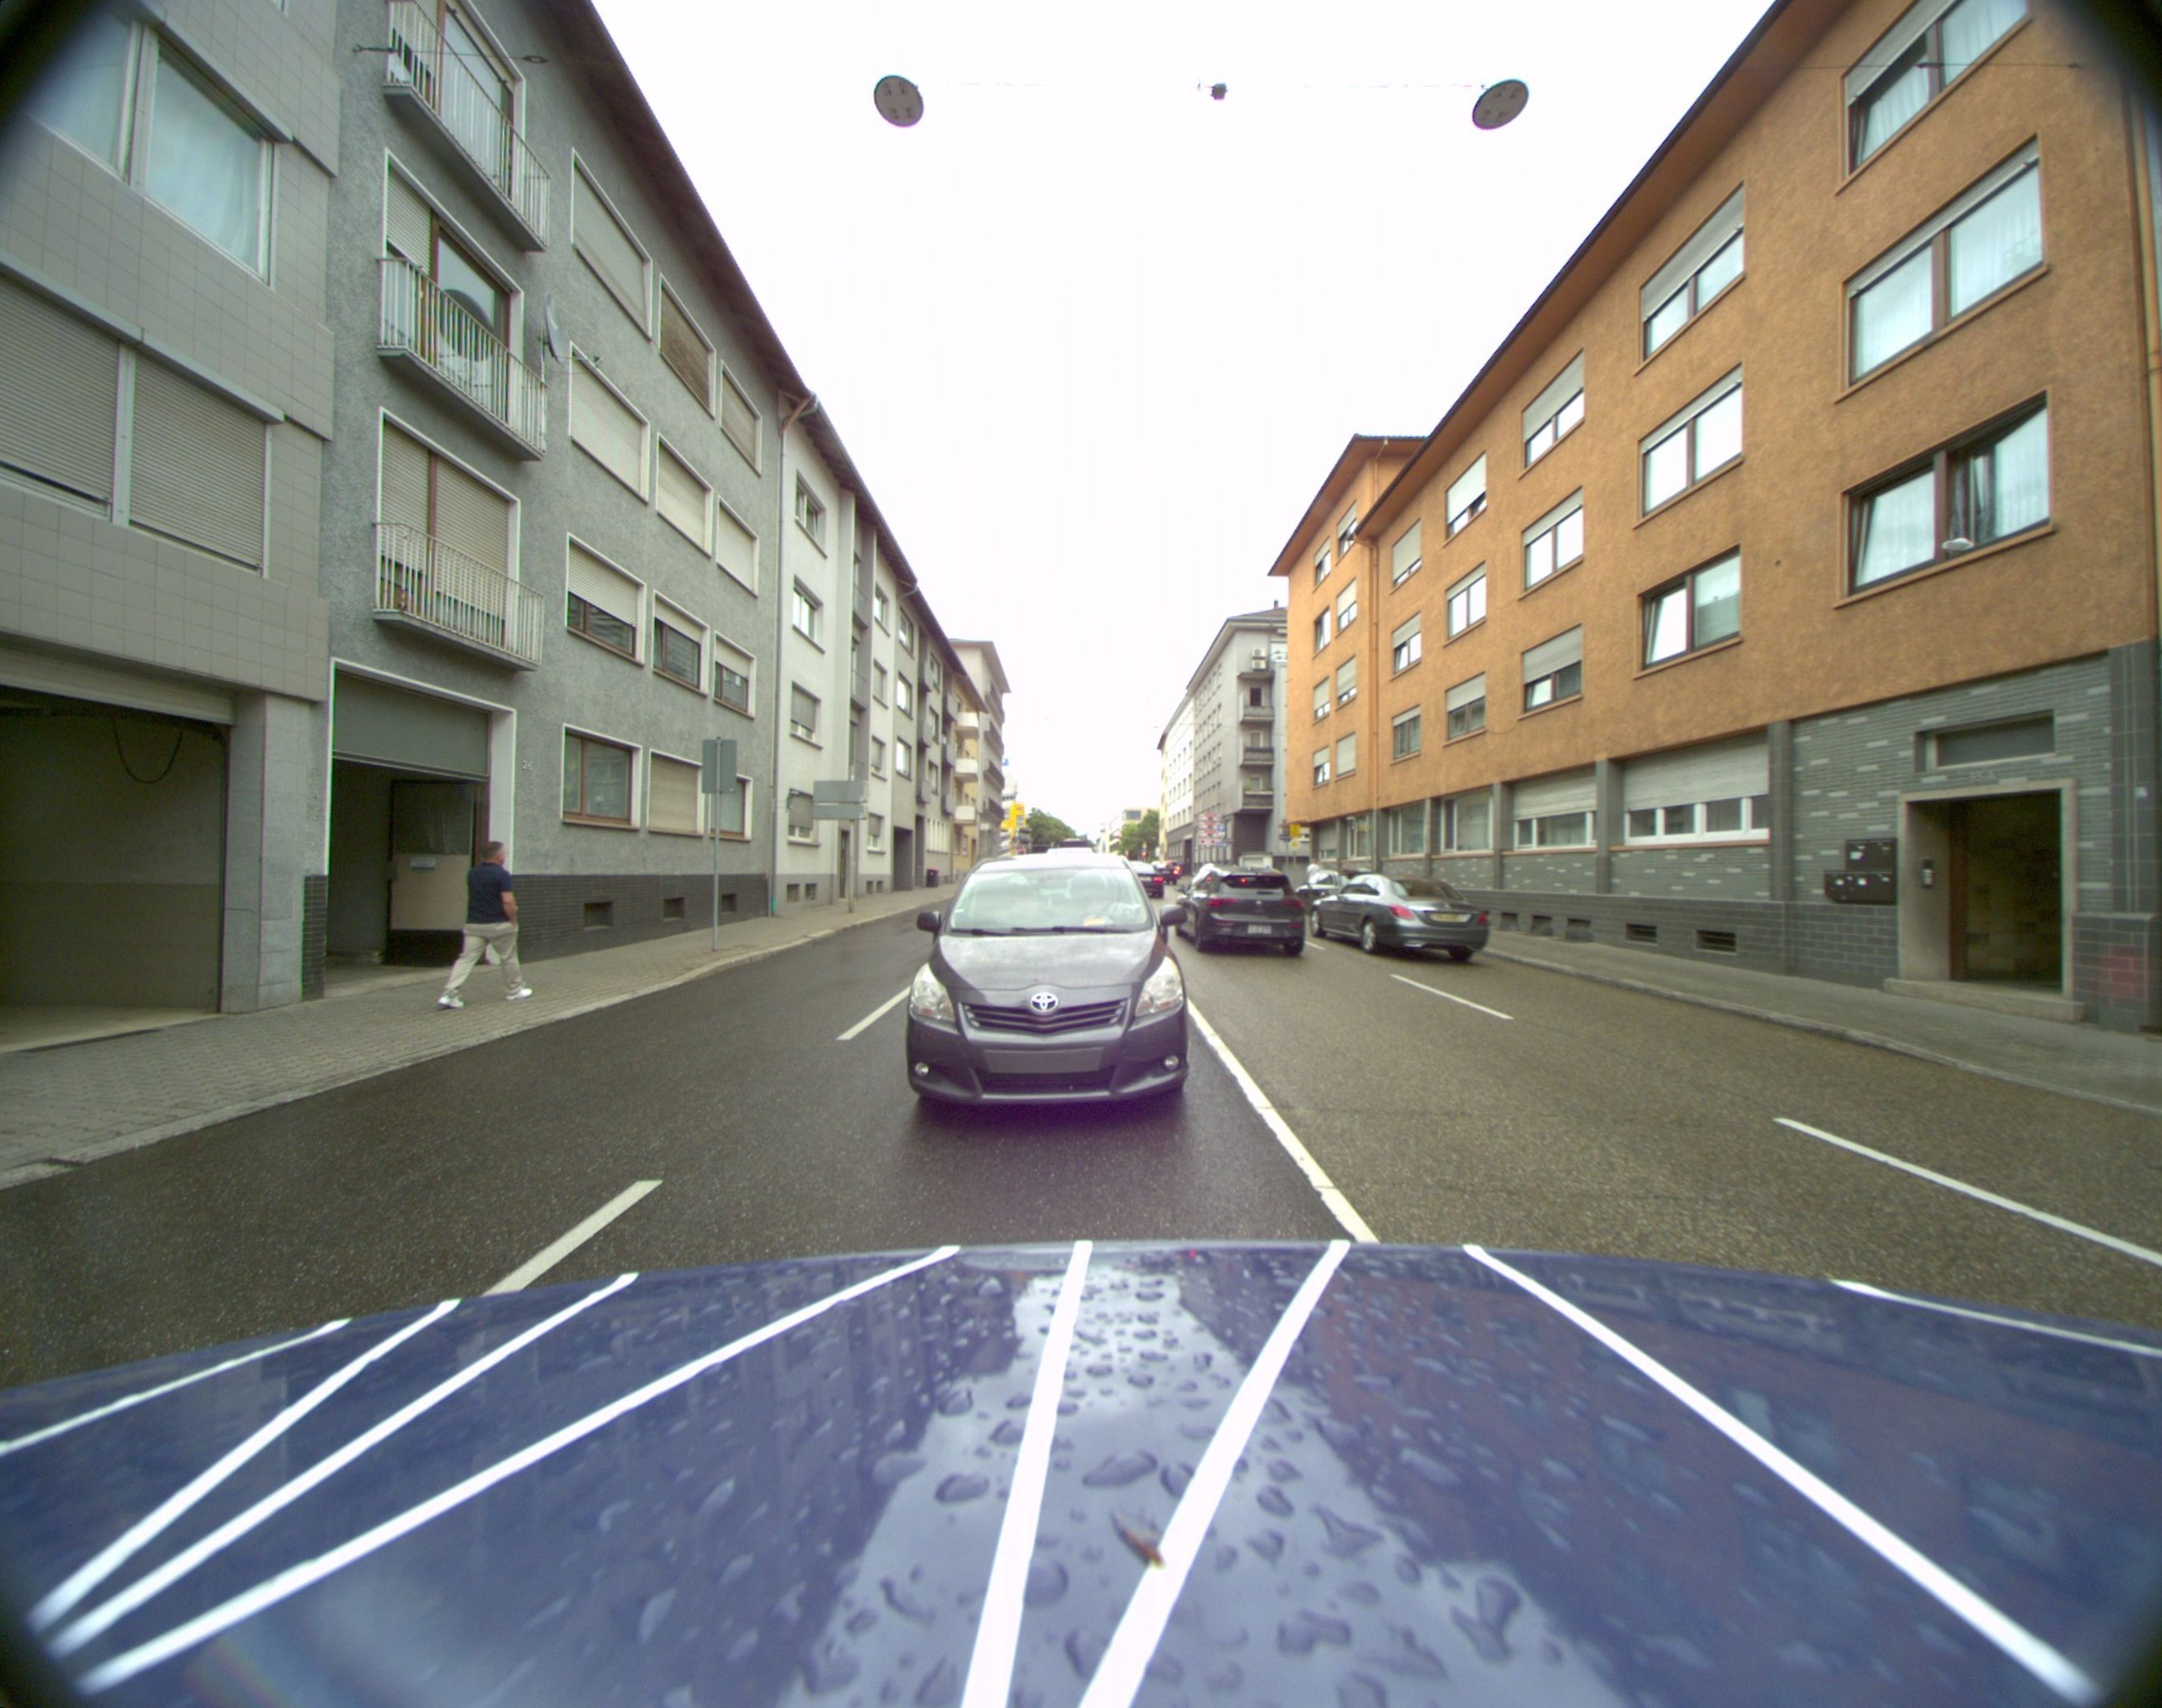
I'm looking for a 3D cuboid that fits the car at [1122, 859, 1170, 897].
[{"bbox_3d":[2.686,0.956,32.288,1.699,1.362,4.217,2,1,1],"label":"car"}]

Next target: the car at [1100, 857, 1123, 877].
[{"bbox_3d":[2.561,1.066,65.065,1.749,1.530,4.052,2,1,-1],"label":"car"}]

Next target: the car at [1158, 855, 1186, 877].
[{"bbox_3d":[7.821,0.988,65.741,1.856,1.712,4.217,-2,1,1],"label":"car"}]

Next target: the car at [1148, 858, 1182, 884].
[{"bbox_3d":[5.772,1.150,52.668,1.699,1.530,4.435,4,1,0],"label":"car"}]

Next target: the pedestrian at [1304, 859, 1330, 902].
[{"bbox_3d":[9.334,1.053,30.076,0.768,1.630,1.023,-2,1,5],"label":"pedestrian"}]

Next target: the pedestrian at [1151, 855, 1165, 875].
[{"bbox_3d":[8.248,1.172,81.259,1.309,2.002,1.258,-2,1,1],"label":"pedestrian"}]

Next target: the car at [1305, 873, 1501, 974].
[{"bbox_3d":[5.749,1.156,14.227,1.699,1.362,4.365,3,1,-1],"label":"car"}]

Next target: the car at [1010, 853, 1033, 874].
[{"bbox_3d":[-5.125,0.790,65.876,1.856,1.663,4.215,-2,1,-4],"label":"car"}]

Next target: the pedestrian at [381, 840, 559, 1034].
[{"bbox_3d":[-6.392,0.810,8.023,0.871,1.855,1.120,4,1,1],"label":"pedestrian"}]

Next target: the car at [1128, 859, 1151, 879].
[{"bbox_3d":[5.460,1.361,71.647,1.856,1.651,4.610,-2,1,1],"label":"car"}]

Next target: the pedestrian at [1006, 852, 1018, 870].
[{"bbox_3d":[-6.871,0.711,75.449,1.119,1.741,0.961,1,1,-5],"label":"pedestrian"}]

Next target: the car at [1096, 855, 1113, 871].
[{"bbox_3d":[2.850,1.062,92.775,1.856,1.712,4.217,-2,1,1],"label":"car"}]

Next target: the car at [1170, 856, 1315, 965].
[{"bbox_3d":[2.781,0.892,14.064,1.699,1.571,4.216,2,1,0],"label":"car"}]

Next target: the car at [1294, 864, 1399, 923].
[{"bbox_3d":[8.048,1.141,23.449,1.799,1.466,4.217,-2,1,1],"label":"car"}]

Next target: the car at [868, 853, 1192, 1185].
[{"bbox_3d":[-0.248,0.900,6.241,1.699,1.712,4.217,-2,1,1],"label":"car"}]

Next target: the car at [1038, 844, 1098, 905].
[{"bbox_3d":[-0.392,0.635,26.590,1.856,1.882,4.217,-2,1,1],"label":"car"}]

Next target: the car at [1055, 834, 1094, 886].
[{"bbox_3d":[-0.327,0.295,43.634,2.033,2.731,4.368,-2,1,1],"label":"car"}]

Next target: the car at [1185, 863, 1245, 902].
[{"bbox_3d":[5.653,1.169,32.545,1.727,1.464,4.373,2,0,-1],"label":"car"}]

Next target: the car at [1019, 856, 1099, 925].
[{"bbox_3d":[-0.501,0.891,20.085,1.856,1.524,3.792,-2,1,1],"label":"car"}]

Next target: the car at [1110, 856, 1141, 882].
[{"bbox_3d":[2.856,0.923,49.263,1.622,1.530,4.216,2,1,-1],"label":"car"}]

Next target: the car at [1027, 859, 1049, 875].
[{"bbox_3d":[-4.161,1.268,74.362,1.856,1.369,4.217,-2,1,1],"label":"car"}]
